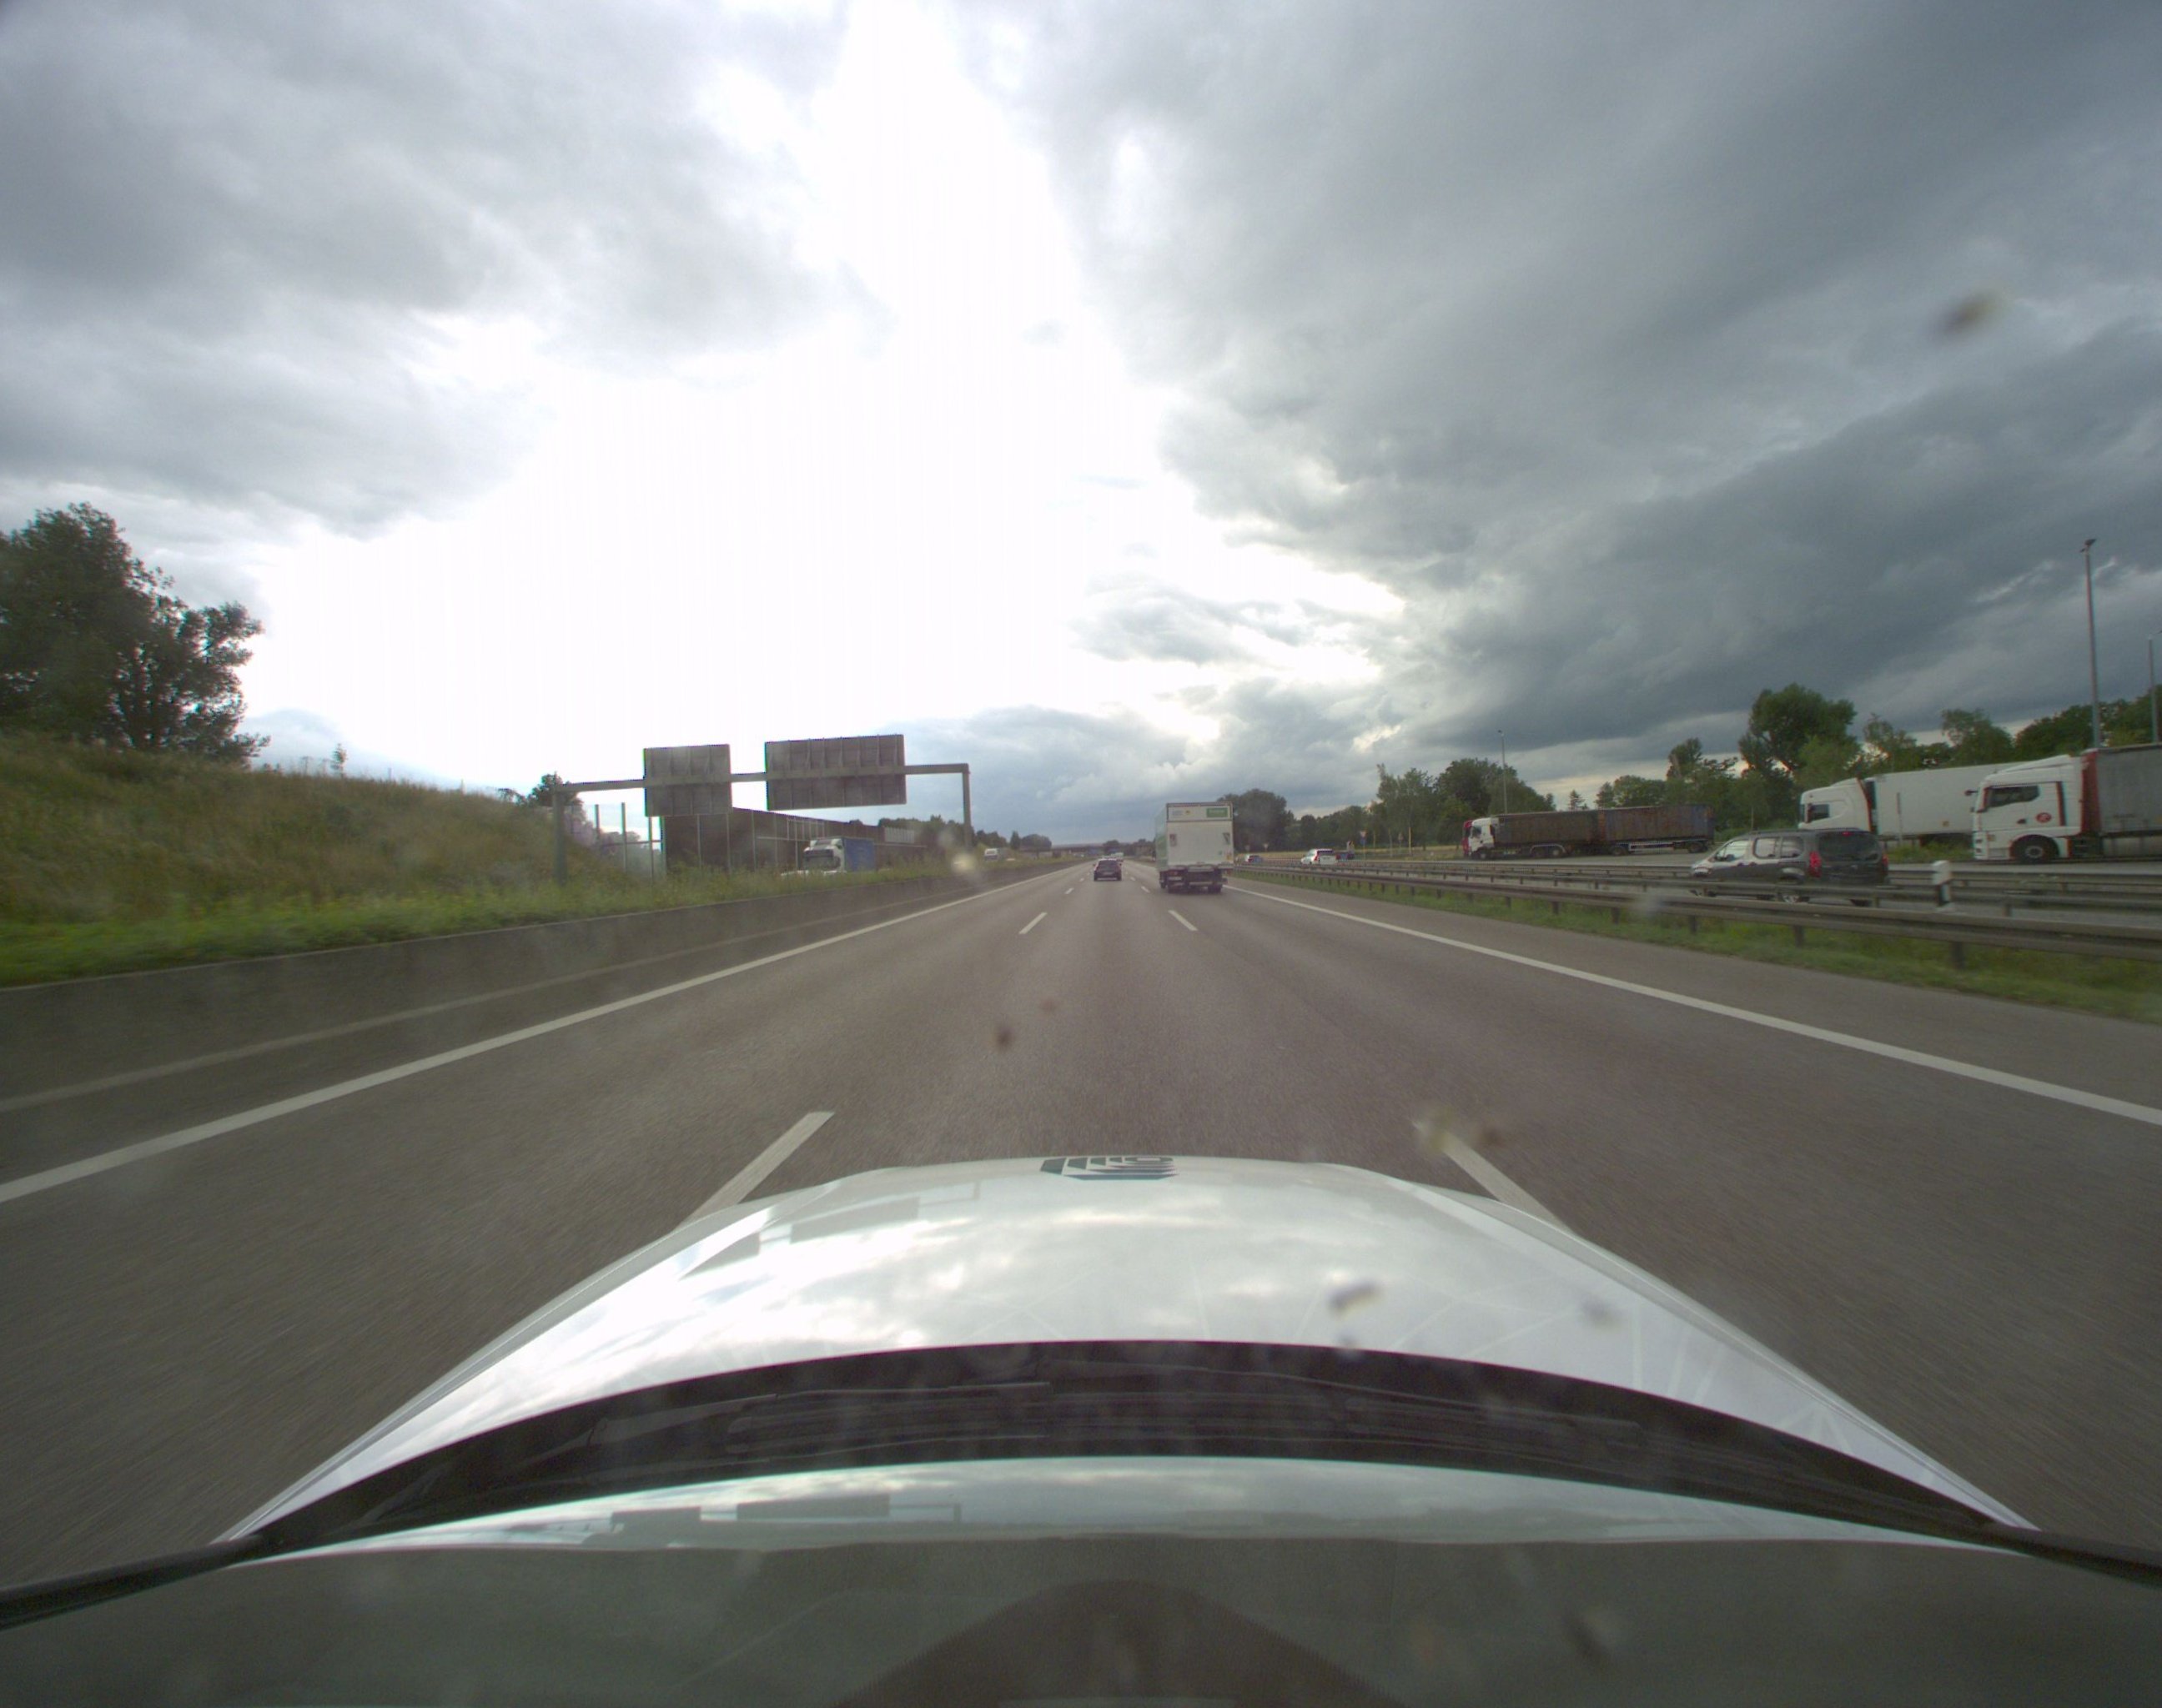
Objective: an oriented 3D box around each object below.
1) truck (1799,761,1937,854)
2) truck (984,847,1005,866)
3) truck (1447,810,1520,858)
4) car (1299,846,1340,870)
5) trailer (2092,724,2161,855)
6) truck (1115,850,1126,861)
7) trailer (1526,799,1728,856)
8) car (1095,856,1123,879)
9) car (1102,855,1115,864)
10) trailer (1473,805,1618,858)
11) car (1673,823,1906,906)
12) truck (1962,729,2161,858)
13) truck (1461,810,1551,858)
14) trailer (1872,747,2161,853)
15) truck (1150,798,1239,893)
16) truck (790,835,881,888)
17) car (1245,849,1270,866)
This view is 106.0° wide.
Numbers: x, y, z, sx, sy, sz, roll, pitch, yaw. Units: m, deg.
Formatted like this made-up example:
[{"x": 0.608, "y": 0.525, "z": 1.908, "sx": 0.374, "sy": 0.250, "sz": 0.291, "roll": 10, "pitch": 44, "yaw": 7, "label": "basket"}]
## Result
[{"x": 37.842, "y": -2.104, "z": 39.227, "sx": 2.627, "sy": 4.135, "sz": 4.480, "roll": 0, "pitch": -1, "yaw": -40, "label": "truck"}, {"x": -15.564, "y": 0.456, "z": 146.332, "sx": 2.814, "sy": 3.227, "sz": 5.983, "roll": -2, "pitch": 0, "yaw": 2, "label": "truck"}, {"x": 37.939, "y": -1.805, "z": 76.859, "sx": 2.606, "sy": 4.254, "sz": 5.625, "roll": 0, "pitch": -1, "yaw": -42, "label": "truck"}, {"x": 18.505, "y": 0.288, "z": 63.495, "sx": 1.821, "sy": 1.757, "sz": 5.067, "roll": -2, "pitch": 0, "yaw": 2, "label": "car"}, {"x": 41.137, "y": -2.228, "z": 24.026, "sx": 2.491, "sy": 4.396, "sz": 13.973, "roll": 0, "pitch": -1, "yaw": -42, "label": "trailer"}, {"x": 11.308, "y": 0.490, "z": 234.341, "sx": 2.700, "sy": 2.964, "sz": 12.450, "roll": 0, "pitch": 0, "yaw": 2, "label": "truck"}, {"x": 43.272, "y": -1.946, "z": 65.228, "sx": 2.763, "sy": 3.841, "sz": 13.050, "roll": -2, "pitch": 0, "yaw": -41, "label": "trailer"}, {"x": 1.847, "y": 0.865, "z": 53.187, "sx": 1.737, "sy": 1.389, "sz": 4.002, "roll": -1, "pitch": 0, "yaw": 2, "label": "car"}, {"x": 4.475, "y": 0.915, "z": 133.717, "sx": 1.986, "sy": 1.298, "sz": 4.001, "roll": -3, "pitch": 0, "yaw": 1, "label": "car"}, {"x": 41.357, "y": -1.896, "z": 73.038, "sx": 2.612, "sy": 4.225, "sz": 10.976, "roll": 0, "pitch": -1, "yaw": -42, "label": "trailer"}, {"x": 17.215, "y": 0.235, "z": 20.159, "sx": 1.821, "sy": 1.757, "sz": 4.596, "roll": -2, "pitch": 0, "yaw": 2, "label": "car"}, {"x": 35.883, "y": -2.033, "z": 29.781, "sx": 2.525, "sy": 4.327, "sz": 4.845, "roll": 0, "pitch": -1, "yaw": -43, "label": "truck"}, {"x": 37.441, "y": -1.729, "z": 71.871, "sx": 2.772, "sy": 3.850, "sz": 6.316, "roll": -2, "pitch": 0, "yaw": -42, "label": "truck"}, {"x": 42.325, "y": -2.150, "z": 33.803, "sx": 2.627, "sy": 4.074, "sz": 13.385, "roll": 0, "pitch": -1, "yaw": -40, "label": "trailer"}, {"x": 4.630, "y": -0.296, "z": 34.973, "sx": 2.760, "sy": 3.504, "sz": 9.065, "roll": -1, "pitch": 0, "yaw": 2, "label": "truck"}, {"x": -18.452, "y": 0.525, "z": 62.162, "sx": 3.247, "sy": 3.603, "sz": 10.938, "roll": -2, "pitch": 0, "yaw": 1, "label": "truck"}, {"x": 20.247, "y": 0.397, "z": 93.499, "sx": 1.821, "sy": 1.757, "sz": 5.067, "roll": -2, "pitch": 0, "yaw": 2, "label": "car"}]
